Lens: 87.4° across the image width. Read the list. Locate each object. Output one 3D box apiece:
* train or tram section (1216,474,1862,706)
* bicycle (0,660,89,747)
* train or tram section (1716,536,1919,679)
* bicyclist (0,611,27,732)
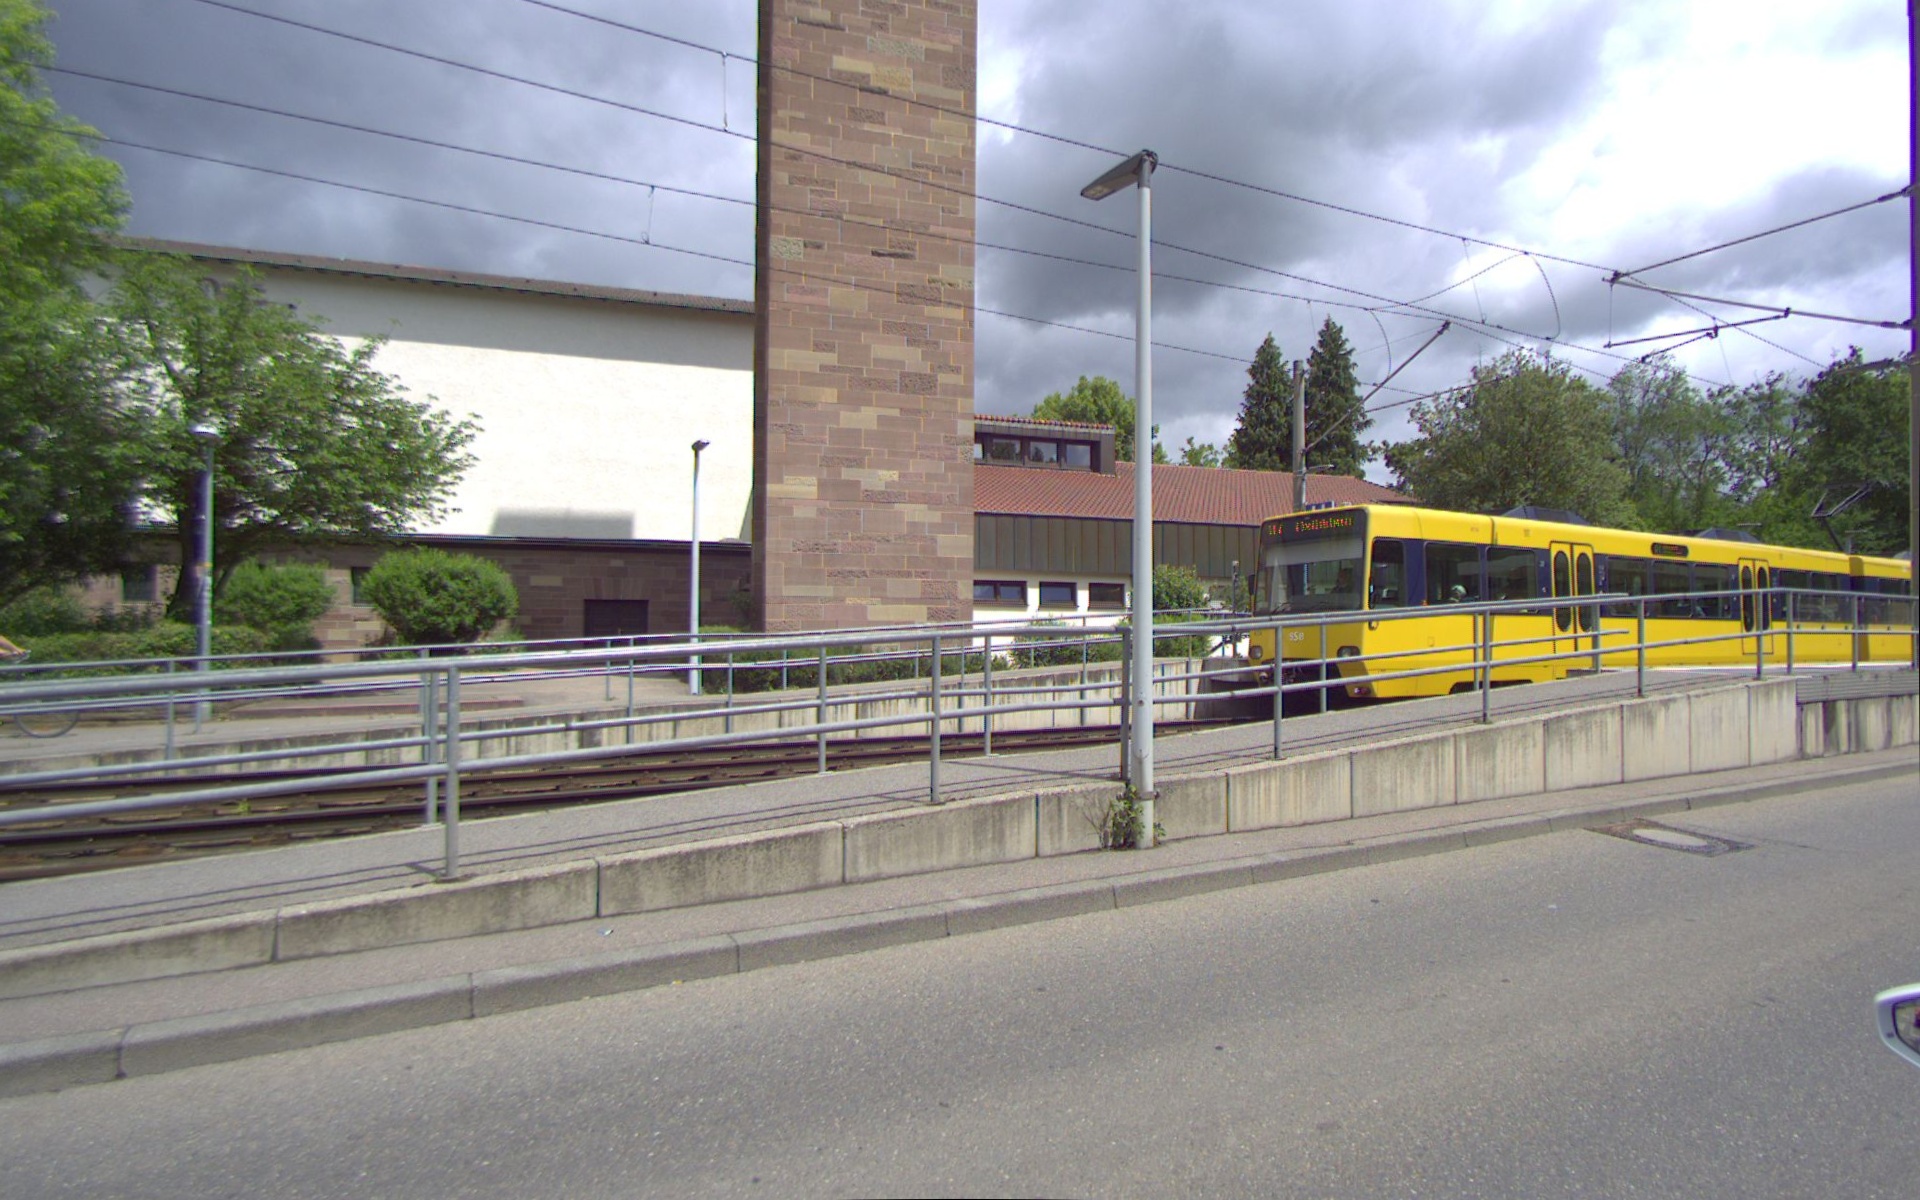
[{"bbox_3d":[13.338,0.037,21.237,18.606,3.511,3.093,1,0,-31],"label":"train or tram section"},{"bbox_3d":[-11.966,1.267,12.264,1.906,1.007,0.634,1,0,-30],"label":"bicycle"},{"bbox_3d":[29.438,0.380,30.762,18.774,3.511,3.093,1,0,-31],"label":"train or tram section"},{"bbox_3d":[-12.002,0.860,12.231,0.781,1.448,0.630,1,0,-30],"label":"bicyclist"}]
